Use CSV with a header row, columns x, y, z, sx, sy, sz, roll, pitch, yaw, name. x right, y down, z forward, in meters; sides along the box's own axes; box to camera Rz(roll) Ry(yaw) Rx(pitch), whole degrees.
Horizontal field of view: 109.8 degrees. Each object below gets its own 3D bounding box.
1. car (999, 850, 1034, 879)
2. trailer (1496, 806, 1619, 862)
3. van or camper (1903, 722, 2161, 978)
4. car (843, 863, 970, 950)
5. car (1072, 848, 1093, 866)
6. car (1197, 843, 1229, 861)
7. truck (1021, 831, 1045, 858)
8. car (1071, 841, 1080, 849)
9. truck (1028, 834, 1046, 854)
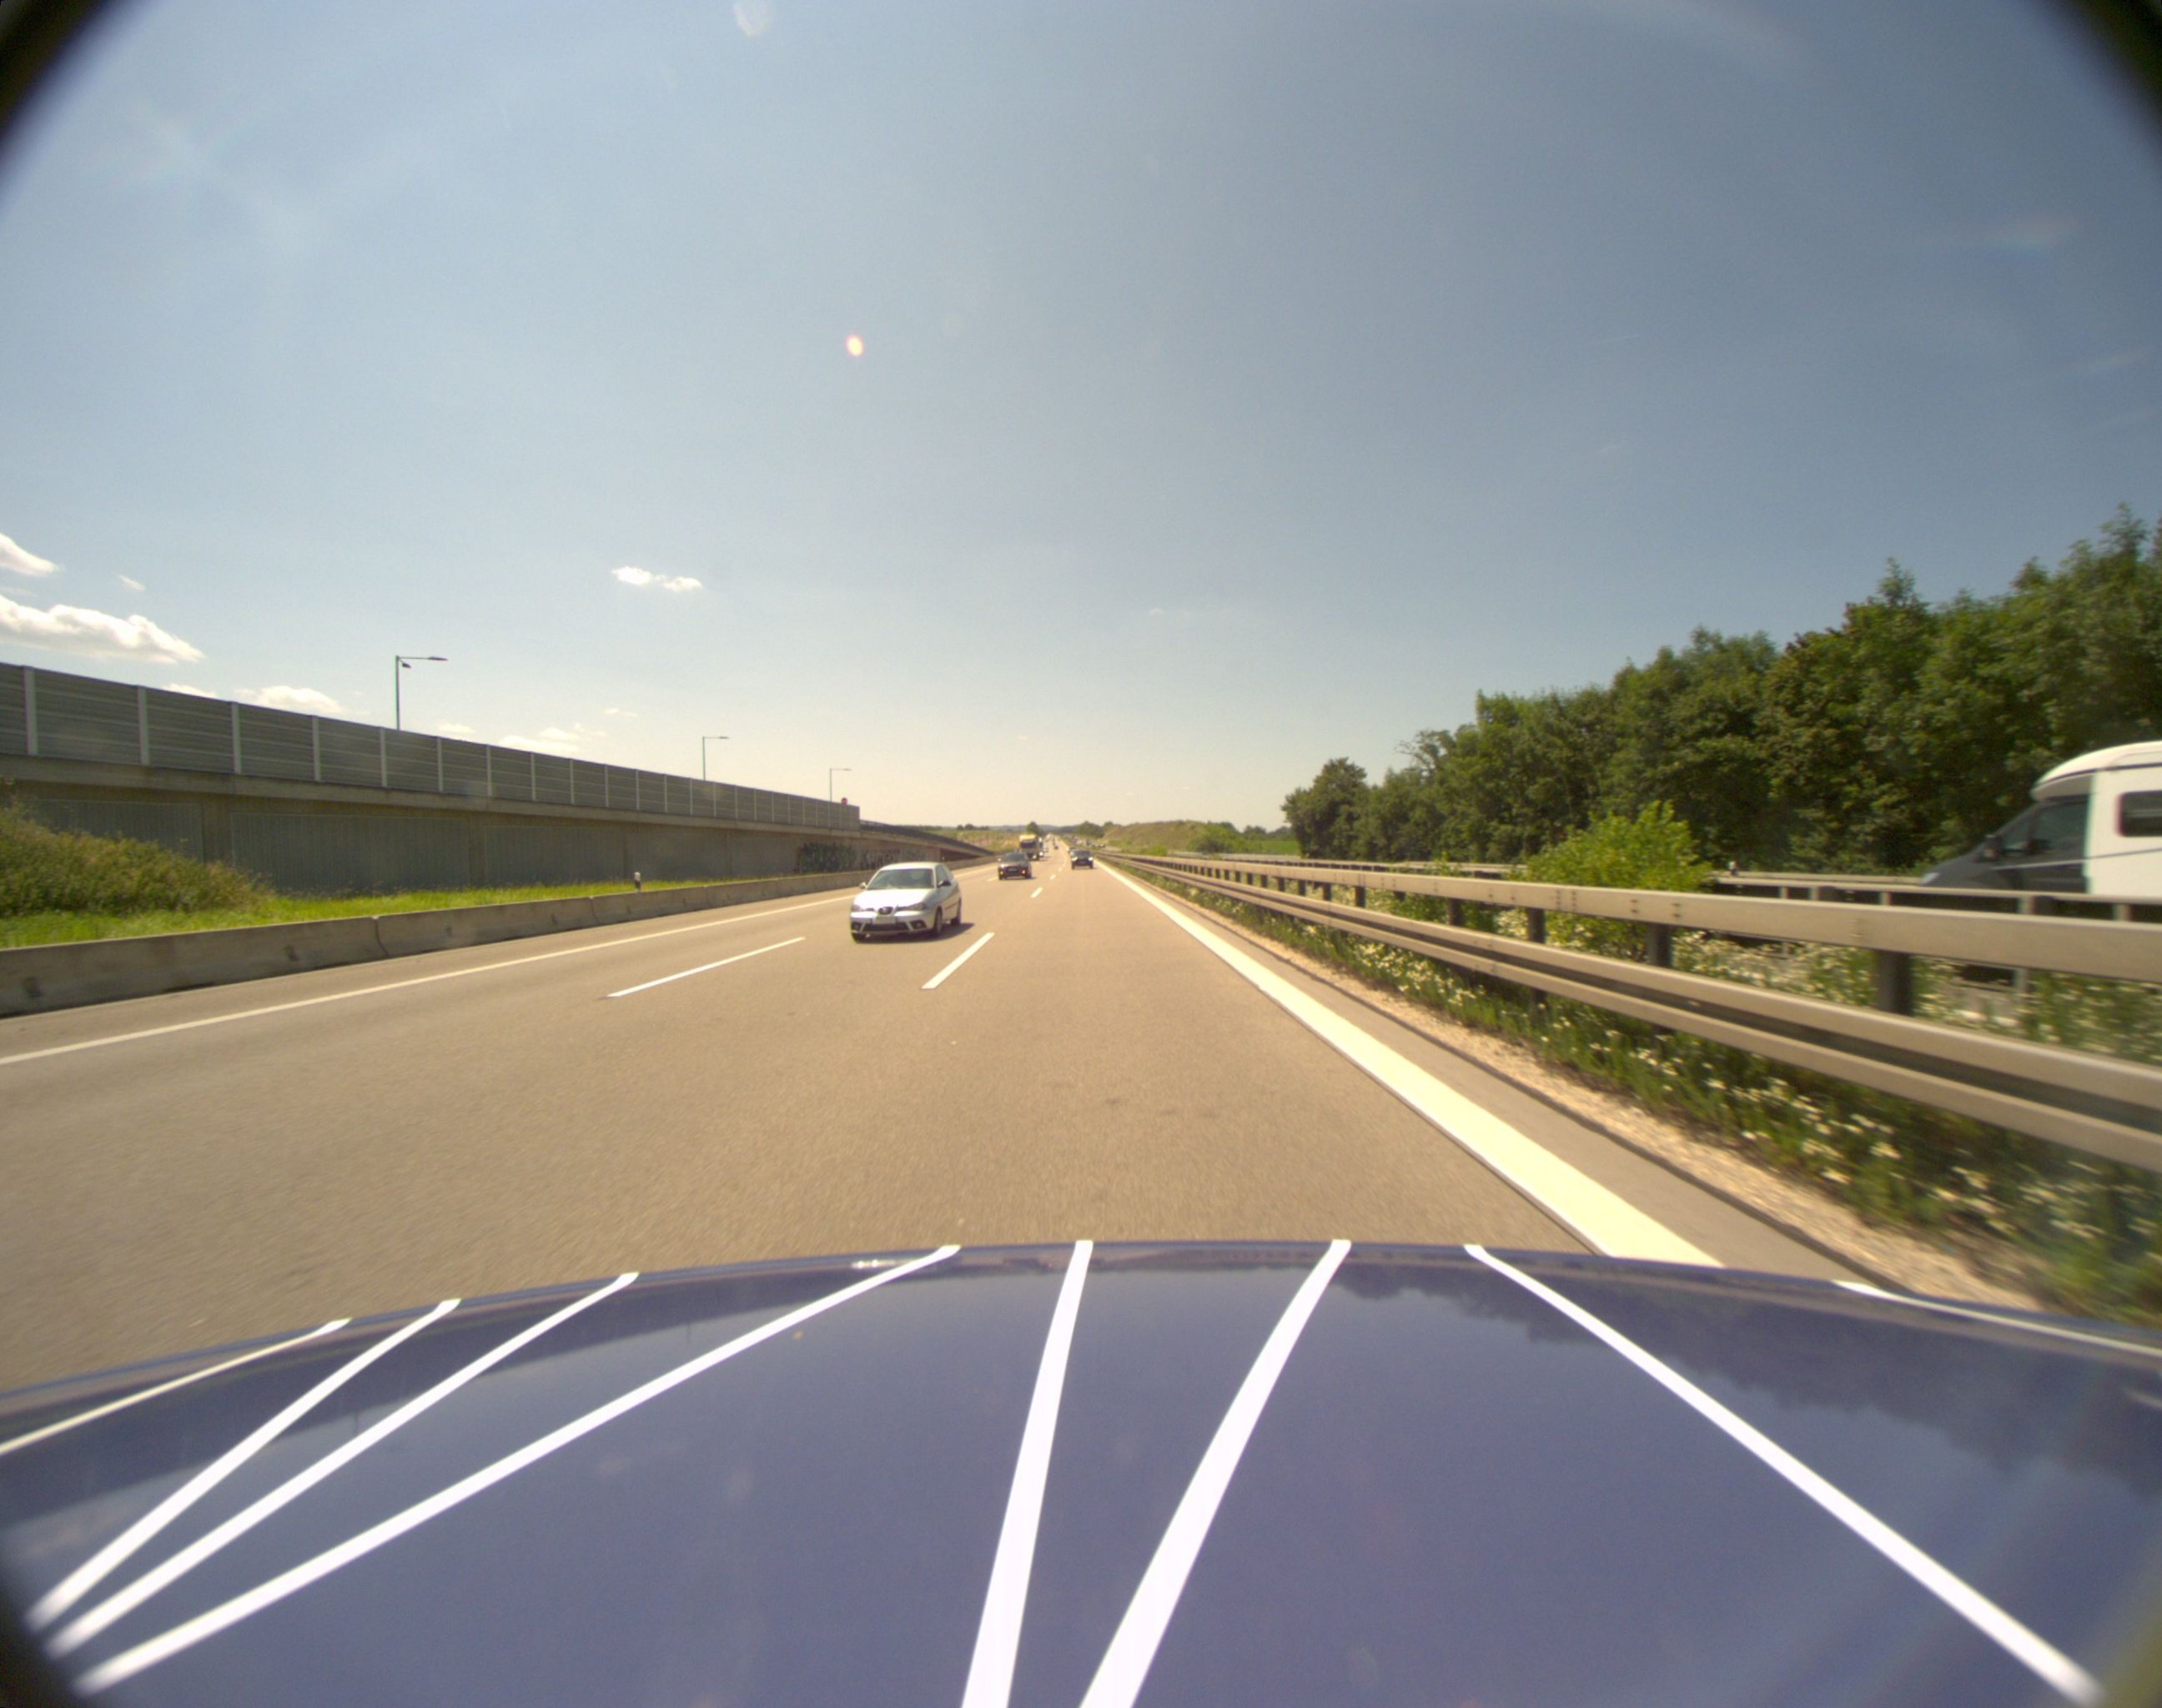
x,y,z,sx,sy,sz,roll,pitch,yaw,name
-3.860,0.587,46.106,1.751,1.559,3.999,-2,1,0,car
34.469,-1.410,55.641,1.998,3.581,11.104,-2,1,0,trailer
13.566,-0.027,8.007,2.276,2.952,6.952,1,1,1,van or camper
-3.449,0.972,15.717,1.634,1.381,3.999,-2,1,0,car
0.153,0.241,65.422,1.751,1.439,3.999,-2,1,0,car
10.368,-0.171,59.733,1.804,1.303,3.999,-2,1,1,car
-7.512,-1.542,120.366,3.368,4.038,11.732,-2,1,-3,truck
-1.396,-2.267,192.707,1.998,2.002,4.000,-2,1,2,car
-9.083,-2.072,157.465,3.368,3.976,11.733,-1,1,-3,truck
